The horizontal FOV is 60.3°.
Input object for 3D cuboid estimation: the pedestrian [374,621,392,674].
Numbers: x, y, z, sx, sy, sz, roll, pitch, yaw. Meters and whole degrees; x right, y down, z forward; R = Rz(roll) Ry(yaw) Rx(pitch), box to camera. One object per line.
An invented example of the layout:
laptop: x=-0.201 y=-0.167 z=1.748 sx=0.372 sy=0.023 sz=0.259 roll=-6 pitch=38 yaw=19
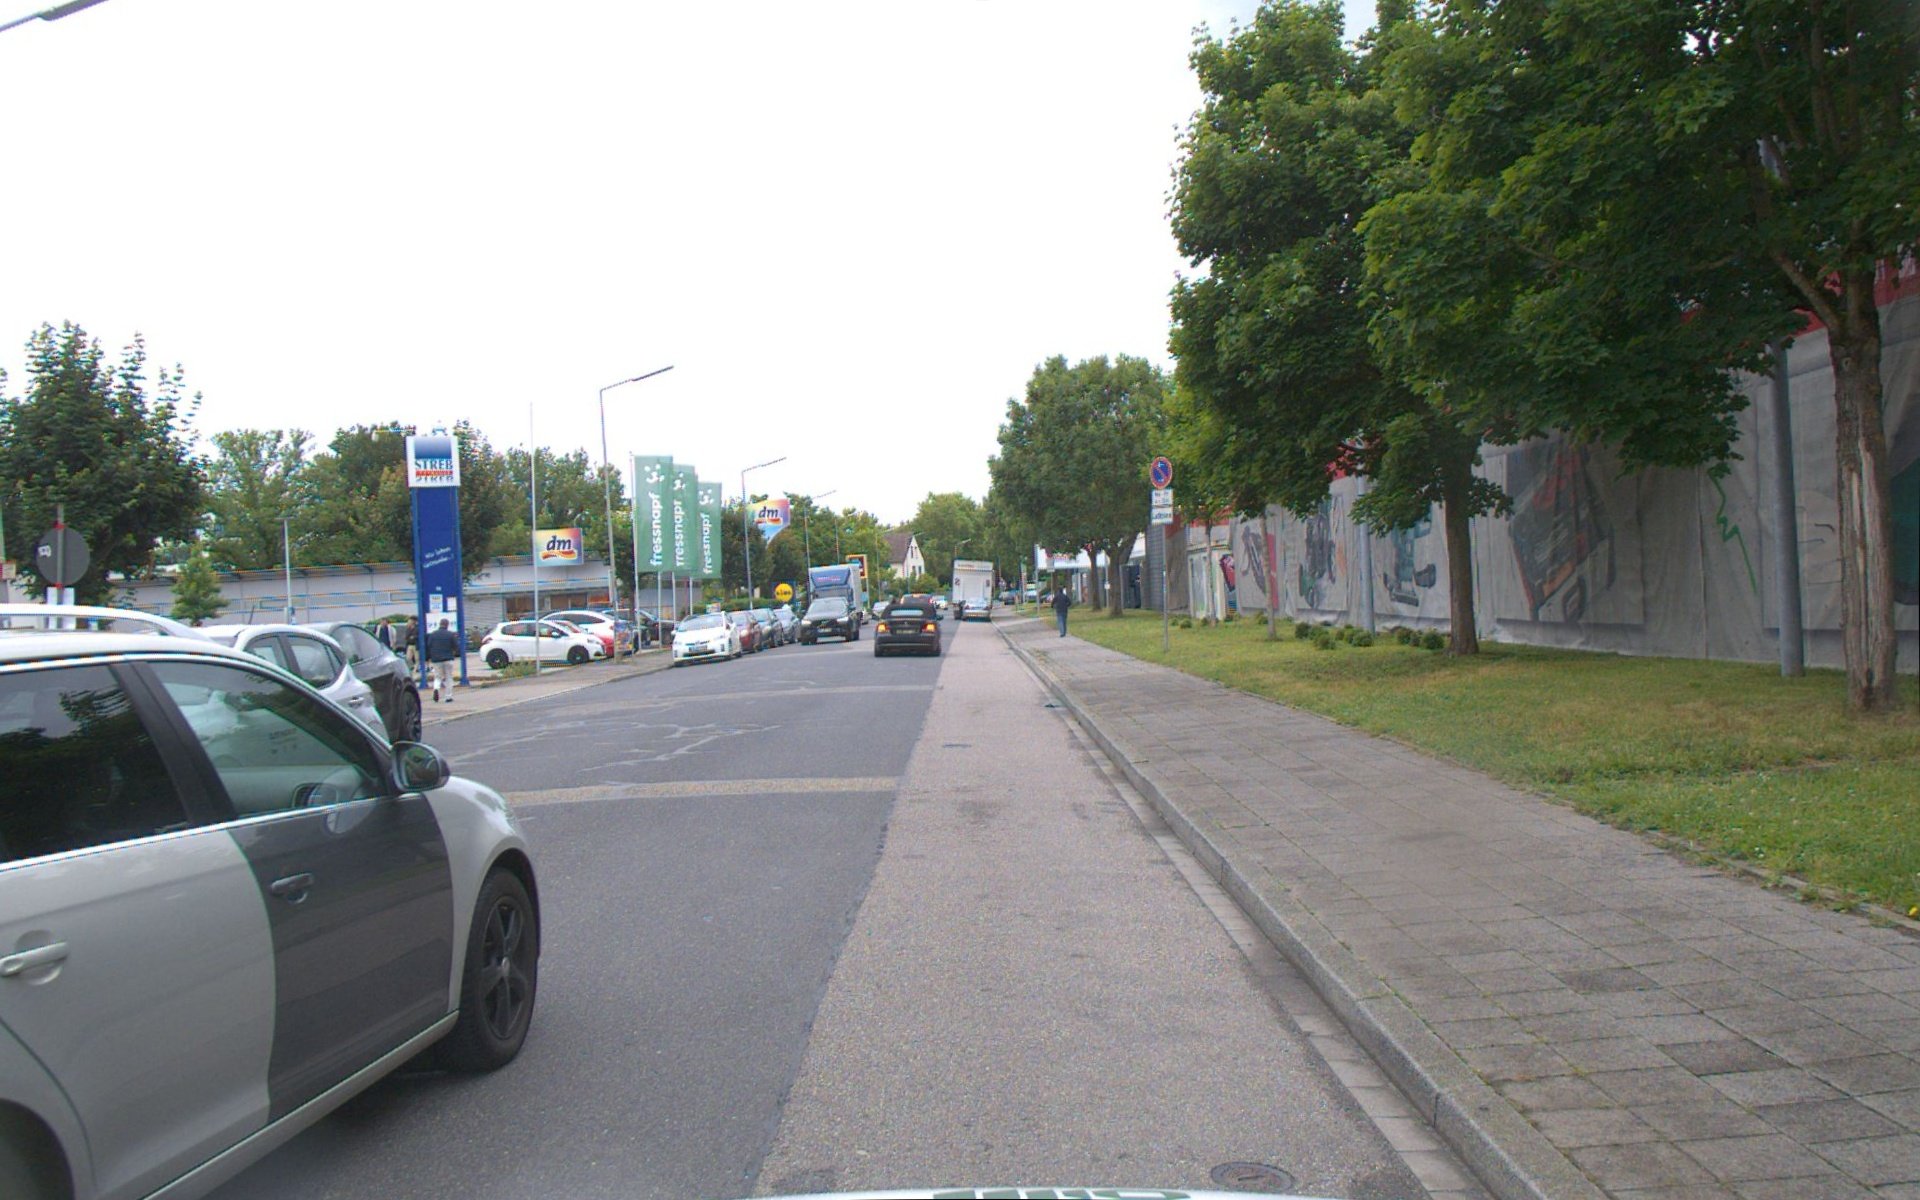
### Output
pedestrian: x=-18.380 y=1.508 z=52.671 sx=0.448 sy=1.670 sz=0.372 roll=-3 pitch=0 yaw=-17

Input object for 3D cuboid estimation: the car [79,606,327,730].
car: x=-14.473 y=1.265 z=31.817 sx=3.855 sy=2.048 sz=1.758 roll=-4 pitch=0 yaw=-7

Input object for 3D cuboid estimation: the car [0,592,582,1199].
car: x=-2.392 y=0.777 z=3.642 sx=1.716 sy=1.476 sz=4.300 roll=-3 pitch=0 yaw=5

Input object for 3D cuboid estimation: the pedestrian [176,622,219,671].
pedestrian: x=-33.478 y=2.031 z=72.613 sx=1.375 sy=2.048 sz=1.193 roll=-3 pitch=0 yaw=-40

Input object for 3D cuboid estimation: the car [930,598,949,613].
car: x=-2.226 y=0.551 z=179.332 sx=1.847 sy=1.558 sz=4.254 roll=-1 pitch=0 yaw=1

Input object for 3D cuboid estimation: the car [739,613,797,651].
car: x=-7.942 y=1.310 z=68.677 sx=1.859 sy=1.391 sz=4.000 roll=-3 pitch=0 yaw=0

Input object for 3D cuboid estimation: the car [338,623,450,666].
car: x=-23.331 y=1.831 z=68.246 sx=3.905 sy=1.518 sz=1.786 roll=-3 pitch=0 yaw=1

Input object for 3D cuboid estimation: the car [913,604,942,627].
car: x=-2.219 y=1.052 z=115.079 sx=1.847 sy=1.558 sz=4.254 roll=-1 pitch=0 yaw=1

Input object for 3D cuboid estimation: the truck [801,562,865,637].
truck: x=-7.362 y=-0.024 z=96.821 sx=2.913 sy=4.024 sz=6.405 roll=-4 pitch=0 yaw=1

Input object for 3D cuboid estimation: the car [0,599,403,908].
car: x=-4.989 y=0.859 z=10.572 sx=1.567 sy=1.554 sz=3.527 roll=-5 pitch=-1 yaw=0

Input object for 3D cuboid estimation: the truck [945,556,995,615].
truck: x=0.590 y=-0.867 z=110.737 sx=3.071 sy=3.647 sz=10.048 roll=-2 pitch=-1 yaw=-1

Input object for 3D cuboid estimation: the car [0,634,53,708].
car: x=-24.604 y=1.818 z=40.295 sx=3.906 sy=1.698 sz=1.876 roll=-3 pitch=0 yaw=0

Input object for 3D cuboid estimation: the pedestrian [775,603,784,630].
pedestrian: x=-10.478 y=0.944 z=95.918 sx=0.394 sy=1.558 sz=0.485 roll=-3 pitch=0 yaw=-6

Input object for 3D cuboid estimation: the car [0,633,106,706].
car: x=-24.529 y=1.837 z=42.709 sx=3.906 sy=1.698 sz=1.876 roll=-3 pitch=0 yaw=0

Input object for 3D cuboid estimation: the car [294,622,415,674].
car: x=-23.497 y=1.847 z=64.296 sx=3.906 sy=1.698 sz=1.876 roll=-3 pitch=0 yaw=0

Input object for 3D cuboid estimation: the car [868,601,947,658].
car: x=-1.357 y=0.761 z=44.134 sx=1.709 sy=1.382 sz=4.139 roll=-3 pitch=-1 yaw=3

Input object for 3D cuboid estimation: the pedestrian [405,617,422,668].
pedestrian: x=-17.431 y=1.347 z=52.737 sx=0.352 sy=1.597 sz=0.503 roll=-3 pitch=0 yaw=-10

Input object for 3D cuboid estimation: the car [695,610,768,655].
car: x=-7.863 y=1.097 z=57.290 sx=1.859 sy=1.391 sz=4.000 roll=-3 pitch=0 yaw=0

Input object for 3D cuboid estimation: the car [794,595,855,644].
car: x=-5.002 y=0.727 z=61.711 sx=1.953 sy=1.713 sz=3.999 roll=-2 pitch=-1 yaw=-1

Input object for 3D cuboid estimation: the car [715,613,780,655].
car: x=-8.031 y=1.260 z=62.799 sx=1.859 sy=1.391 sz=4.000 roll=-3 pitch=0 yaw=0

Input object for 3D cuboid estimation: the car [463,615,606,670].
car: x=-13.562 y=1.341 z=52.897 sx=4.124 sy=1.488 sz=1.950 roll=-3 pitch=0 yaw=-7

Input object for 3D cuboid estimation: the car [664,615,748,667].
car: x=-7.765 y=1.224 z=50.809 sx=1.859 sy=1.391 sz=4.000 roll=-3 pitch=0 yaw=0

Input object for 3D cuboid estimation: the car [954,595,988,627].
car: x=0.653 y=0.680 z=101.488 sx=1.953 sy=1.837 sz=3.999 roll=-2 pitch=-1 yaw=-1

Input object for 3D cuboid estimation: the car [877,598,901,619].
car: x=-5.463 y=0.649 z=127.183 sx=1.671 sy=1.573 sz=3.620 roll=-2 pitch=-1 yaw=-1

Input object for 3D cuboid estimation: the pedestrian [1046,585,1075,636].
pedestrian: x=3.333 y=0.351 z=54.795 sx=0.900 sy=1.663 sz=0.853 roll=-2 pitch=-1 yaw=2

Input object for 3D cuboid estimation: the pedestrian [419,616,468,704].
pedestrian: x=-10.629 y=1.228 z=34.062 sx=0.760 sy=1.745 sz=0.696 roll=-2 pitch=0 yaw=-4

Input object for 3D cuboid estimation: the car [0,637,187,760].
car: x=-13.826 y=1.461 z=24.494 sx=3.794 sy=1.649 sz=1.928 roll=-2 pitch=0 yaw=0

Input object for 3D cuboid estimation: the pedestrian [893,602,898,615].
pedestrian: x=-4.886 y=0.632 z=125.812 sx=0.245 sy=0.993 sz=0.343 roll=-2 pitch=-1 yaw=16

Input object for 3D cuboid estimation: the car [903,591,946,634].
car: x=-1.531 y=0.504 z=69.458 sx=1.647 sy=1.660 sz=3.757 roll=-3 pitch=0 yaw=-2

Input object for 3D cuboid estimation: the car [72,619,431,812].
car: x=-7.455 y=1.126 z=17.970 sx=1.908 sy=1.552 sz=4.401 roll=-7 pitch=0 yaw=-1

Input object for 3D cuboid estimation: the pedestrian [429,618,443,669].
pedestrian: x=-16.600 y=1.371 z=52.355 sx=0.324 sy=1.597 sz=0.502 roll=-2 pitch=0 yaw=-11

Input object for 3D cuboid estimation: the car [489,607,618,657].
car: x=-14.155 y=1.095 z=57.835 sx=4.055 sy=1.488 sz=1.896 roll=-3 pitch=0 yaw=-5
